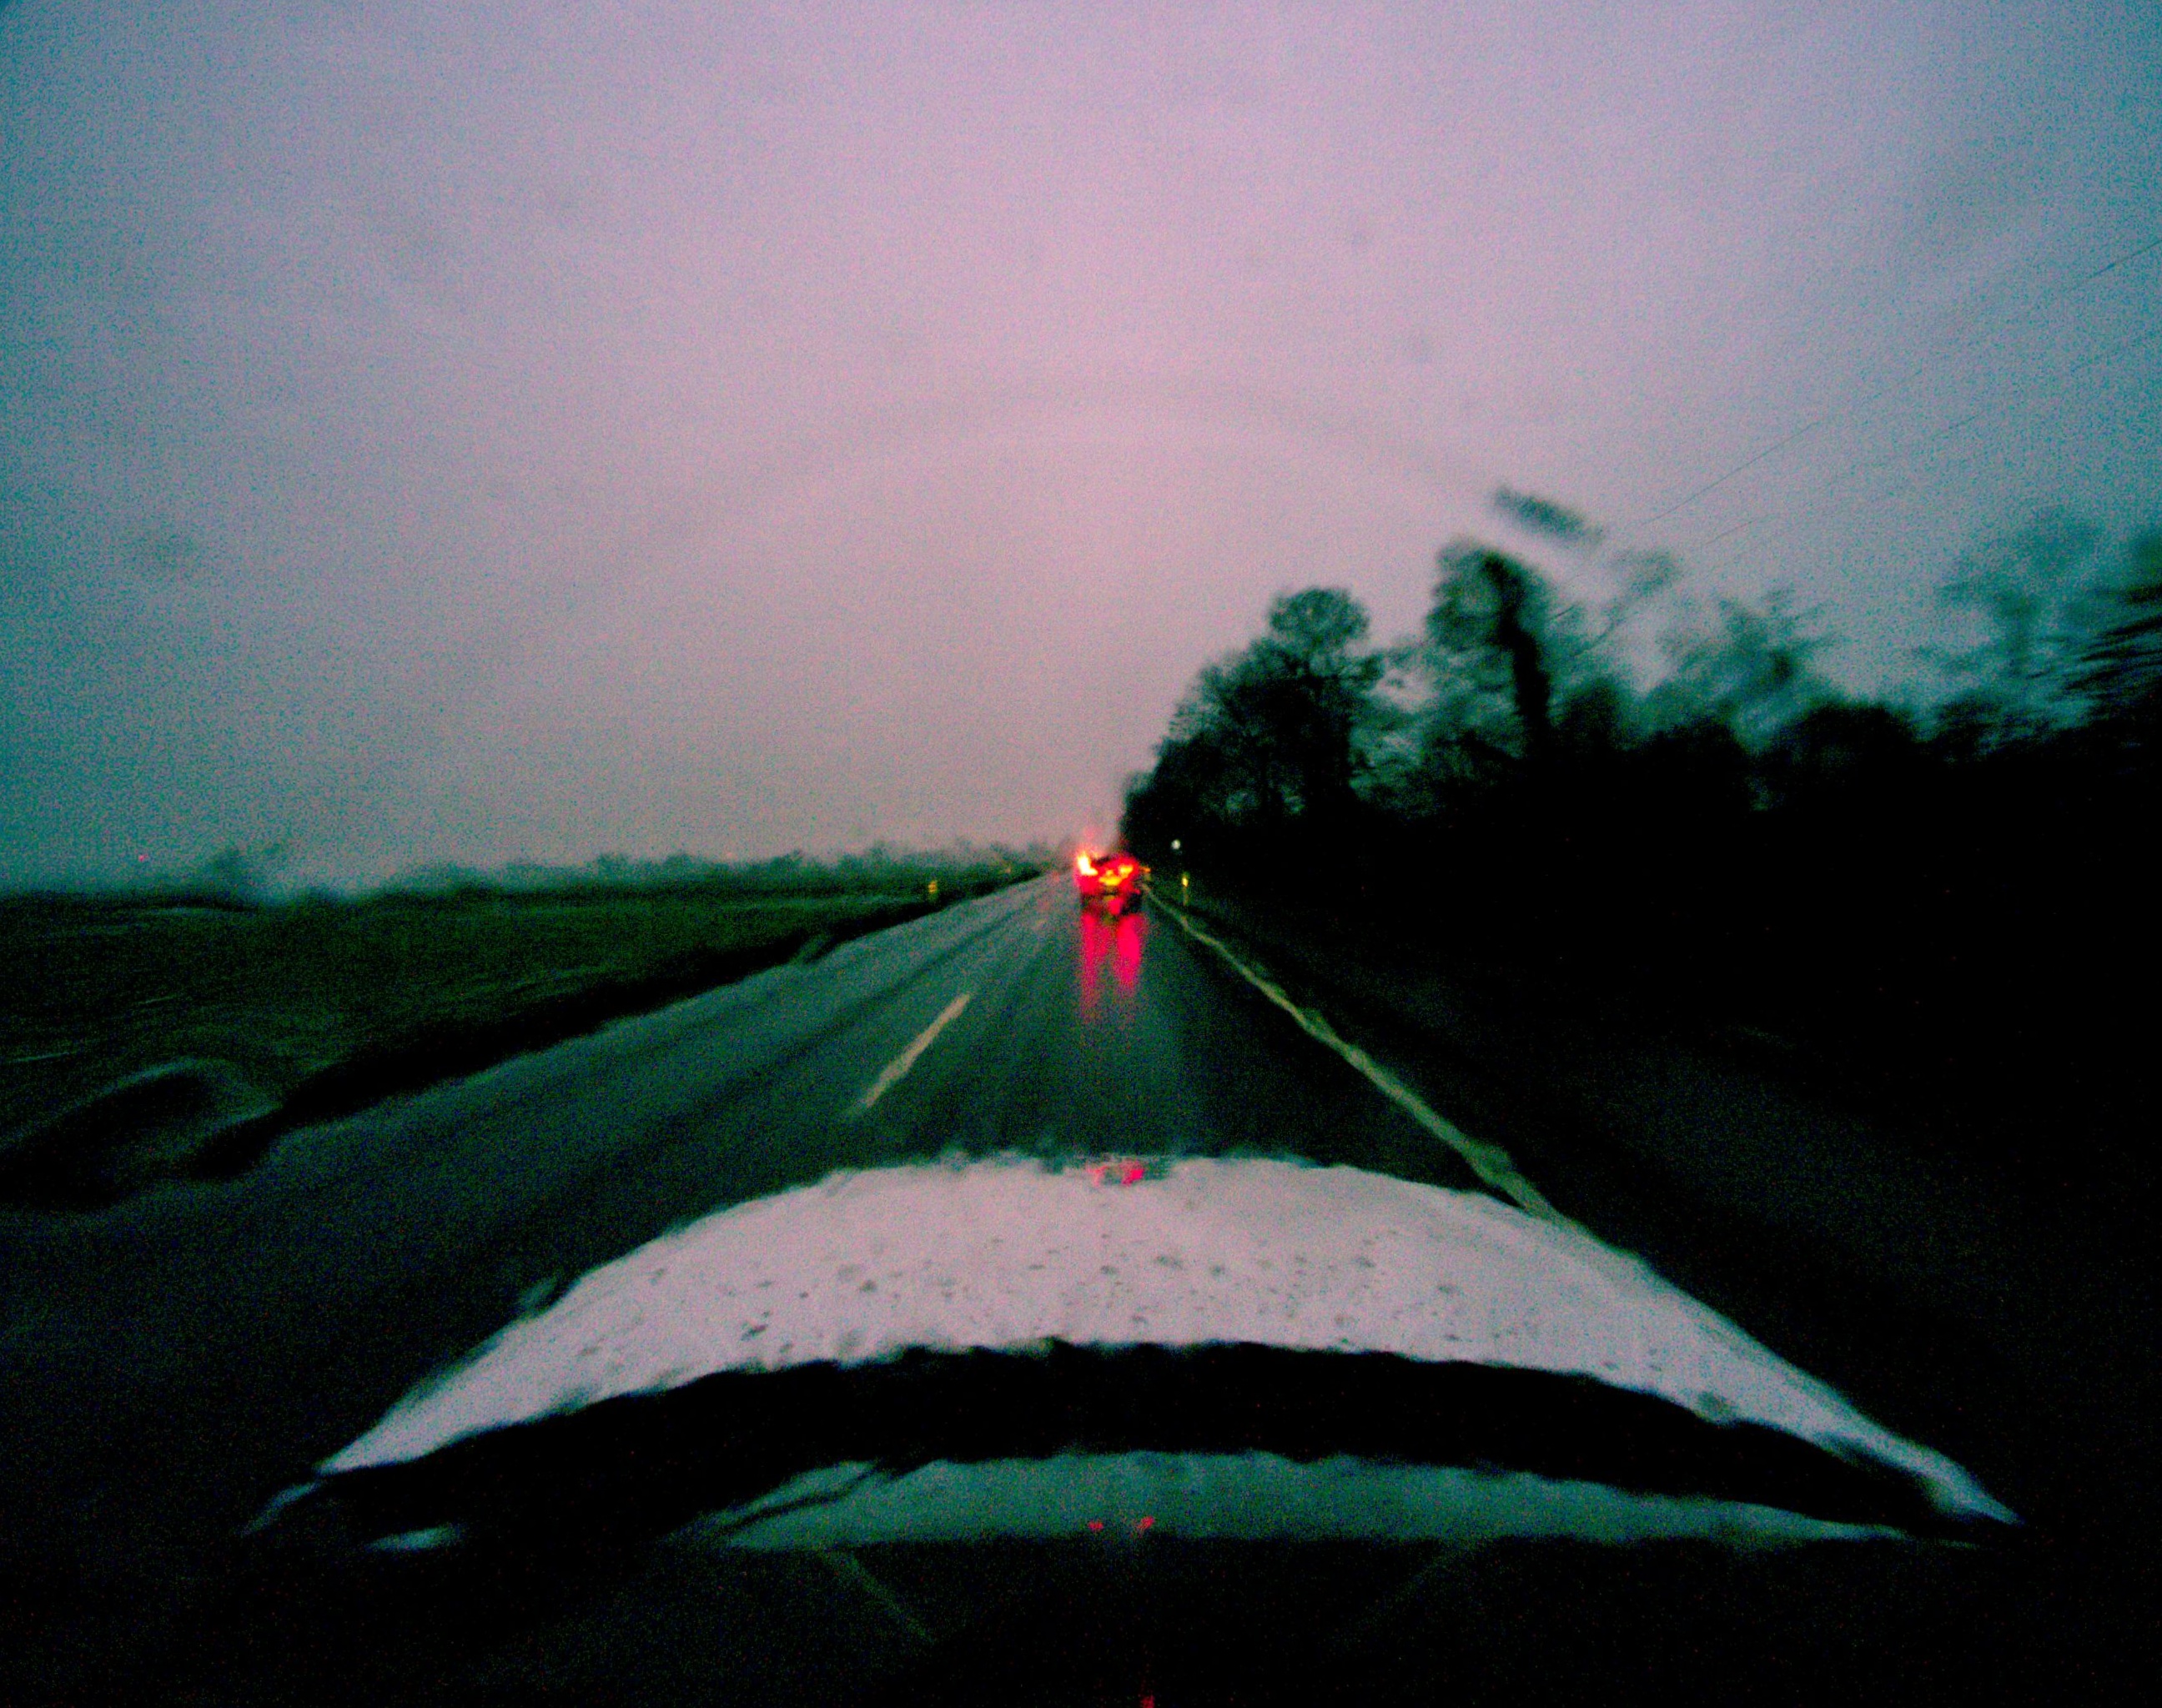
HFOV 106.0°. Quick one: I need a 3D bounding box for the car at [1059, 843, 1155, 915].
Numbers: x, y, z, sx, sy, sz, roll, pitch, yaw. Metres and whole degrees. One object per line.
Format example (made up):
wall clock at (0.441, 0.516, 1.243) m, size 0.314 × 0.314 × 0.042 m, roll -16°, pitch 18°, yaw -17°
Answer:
car at (0.868, 0.761, 26.808) m, size 2.809 × 2.077 × 5.807 m, roll -1°, pitch 0°, yaw 2°
